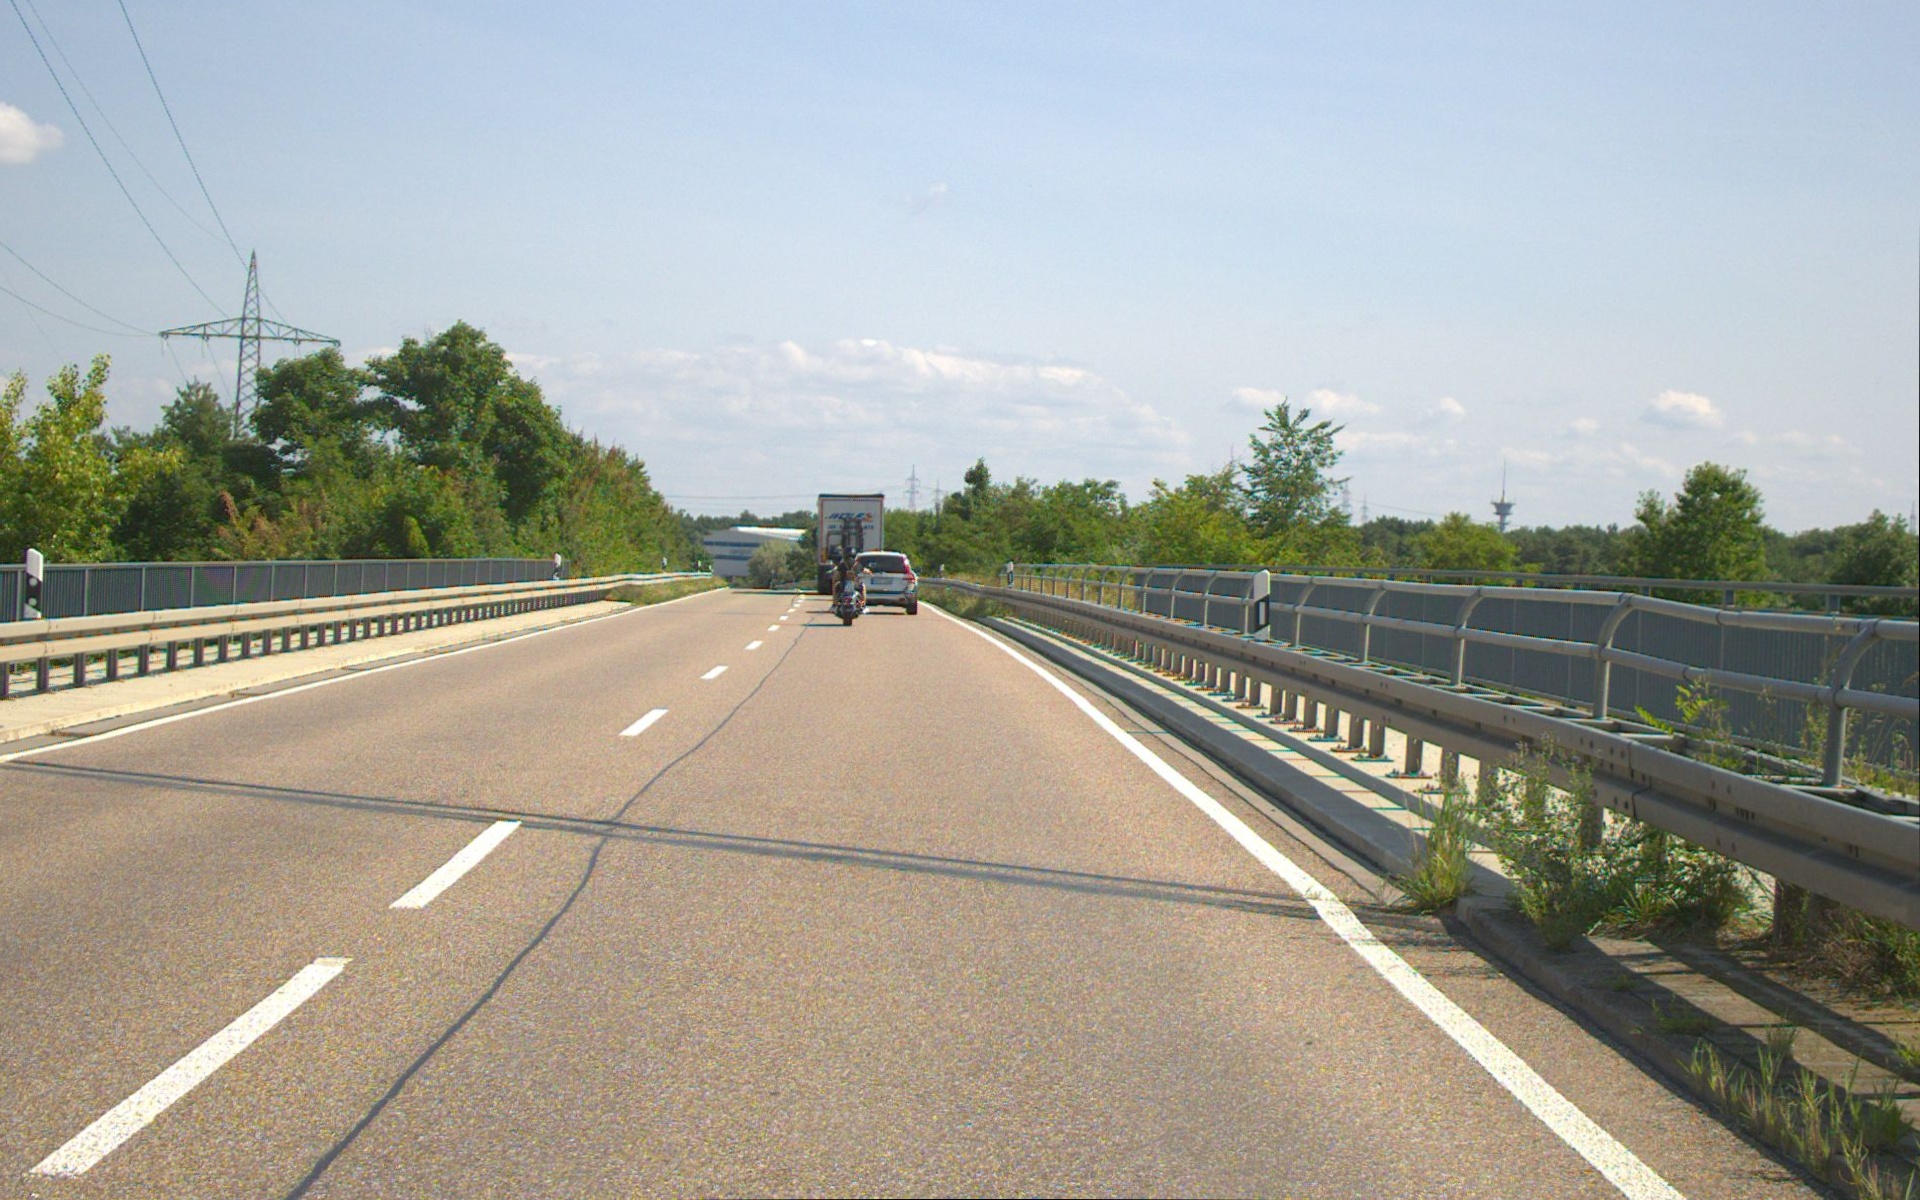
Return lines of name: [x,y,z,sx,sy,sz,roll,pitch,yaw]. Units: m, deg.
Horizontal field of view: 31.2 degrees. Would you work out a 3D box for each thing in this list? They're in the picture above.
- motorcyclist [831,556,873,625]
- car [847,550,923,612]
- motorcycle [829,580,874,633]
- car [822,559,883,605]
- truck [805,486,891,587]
motorcyclist: [-2.123,-0.186,67.799,0.780,1.321,0.813,1,1,0]
car: [-1.861,-0.492,86.229,1.825,1.446,4.000,1,1,0]
motorcycle: [-2.139,0.118,67.785,0.780,0.972,2.361,1,1,0]
car: [-3.536,-0.621,113.971,1.866,1.415,4.000,1,1,0]
truck: [-4.545,-2.580,141.200,3.241,3.965,9.444,1,1,-1]
